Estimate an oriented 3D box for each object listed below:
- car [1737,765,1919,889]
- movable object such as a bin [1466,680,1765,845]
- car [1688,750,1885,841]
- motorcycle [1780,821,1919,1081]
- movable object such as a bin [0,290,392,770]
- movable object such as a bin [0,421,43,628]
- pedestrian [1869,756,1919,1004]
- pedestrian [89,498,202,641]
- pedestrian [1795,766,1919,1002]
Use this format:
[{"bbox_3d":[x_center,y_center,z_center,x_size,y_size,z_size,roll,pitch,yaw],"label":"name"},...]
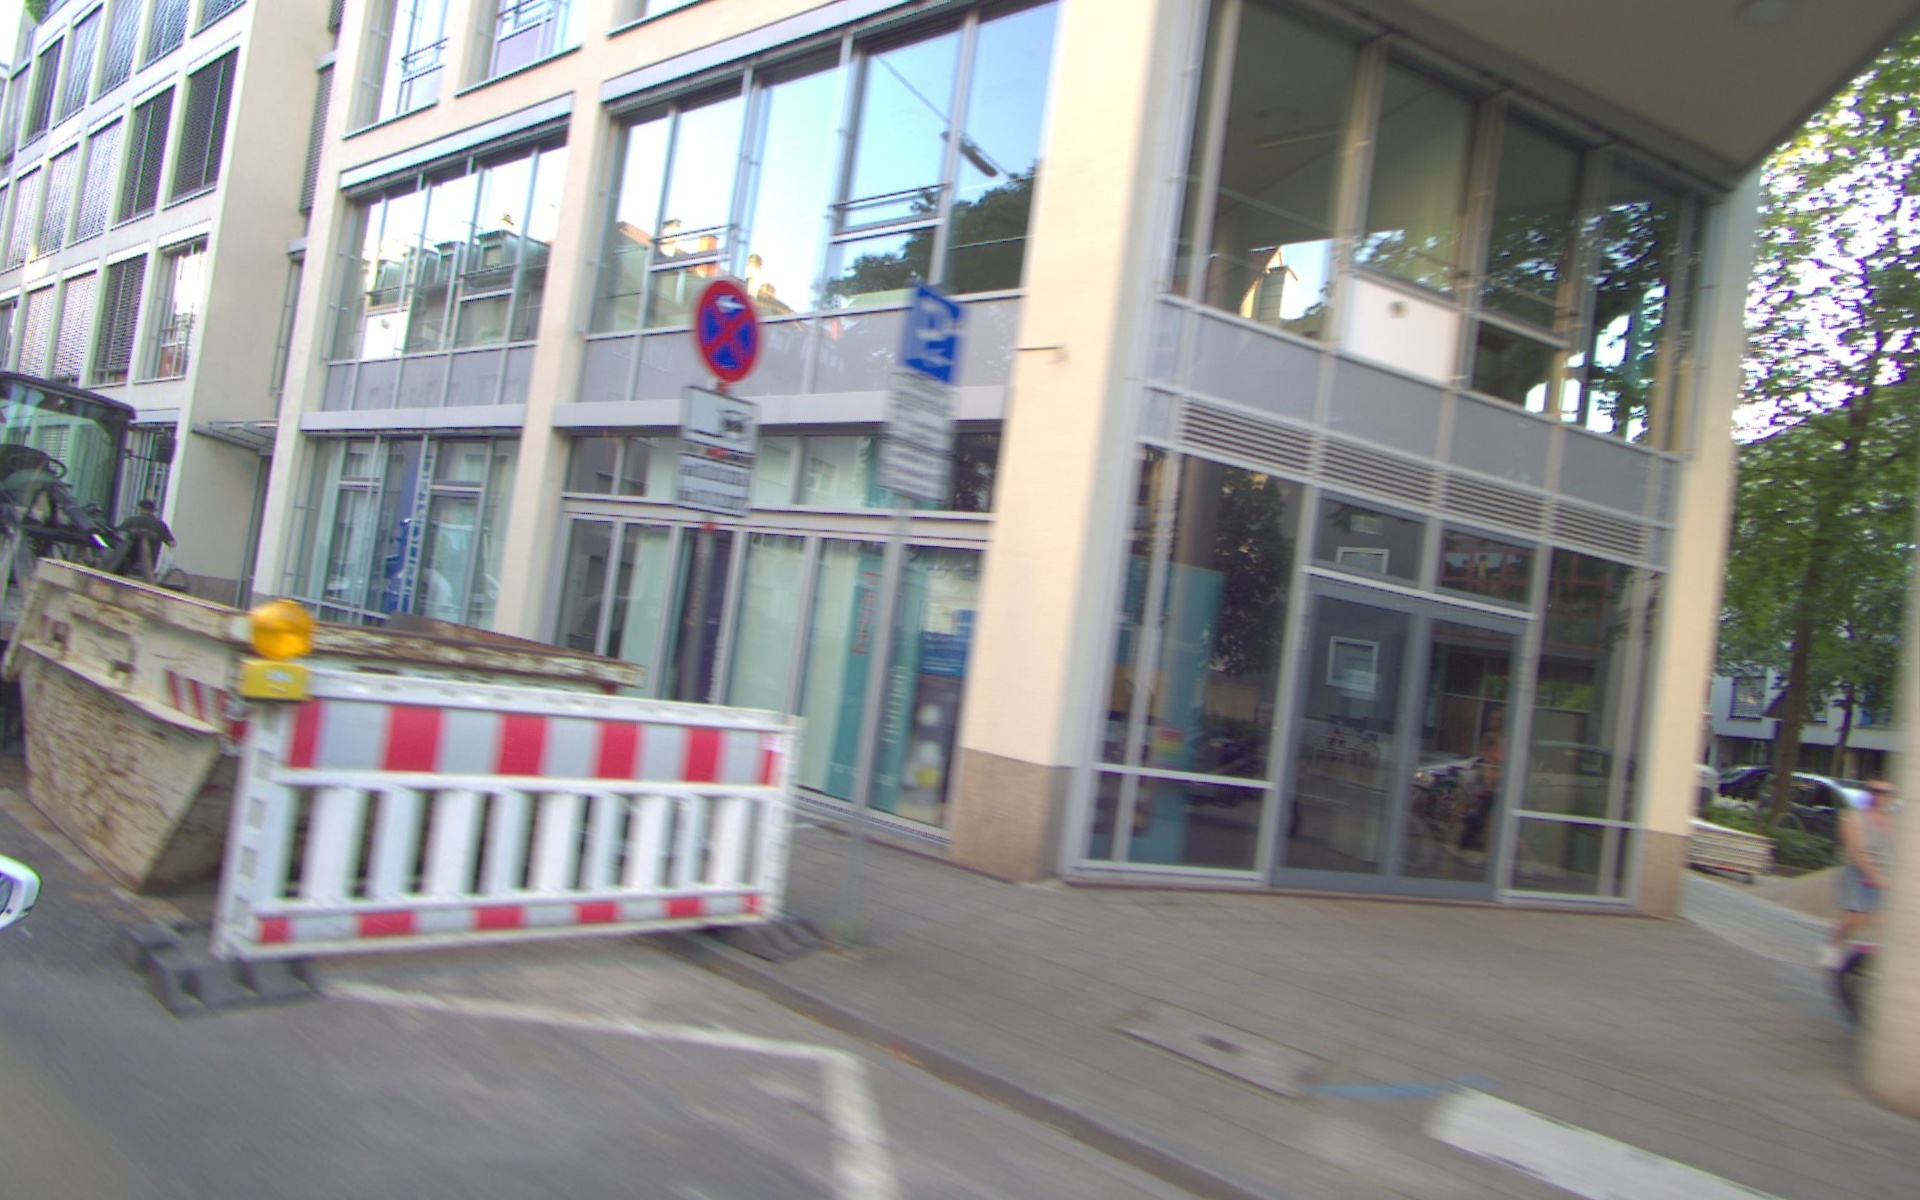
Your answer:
[{"bbox_3d":[17.991,4.518,20.196,1.919,1.732,4.710,7,-3,15],"label":"car"},{"bbox_3d":[12.921,3.131,20.205,3.982,2.410,2.788,8,-2,7],"label":"movable object such as a bin"},{"bbox_3d":[28.406,6.684,34.740,4.664,2.036,2.003,9,-2,12],"label":"car"},{"bbox_3d":[5.269,1.913,4.955,0.547,1.185,2.311,8,-2,4],"label":"motorcycle"},{"bbox_3d":[-7.304,-0.545,8.059,5.558,2.723,2.281,7,-2,34],"label":"movable object such as a bin"},{"bbox_3d":[-14.212,-1.241,13.064,4.032,2.569,2.281,7,-2,34],"label":"movable object such as a bin"},{"bbox_3d":[7.244,2.051,7.215,0.727,1.709,0.608,8,-2,14],"label":"pedestrian"},{"bbox_3d":[-11.702,-0.436,14.453,0.863,1.871,0.888,7,-2,38],"label":"pedestrian"},{"bbox_3d":[6.859,2.086,7.527,0.760,1.553,0.641,7,-2,37],"label":"pedestrian"}]
